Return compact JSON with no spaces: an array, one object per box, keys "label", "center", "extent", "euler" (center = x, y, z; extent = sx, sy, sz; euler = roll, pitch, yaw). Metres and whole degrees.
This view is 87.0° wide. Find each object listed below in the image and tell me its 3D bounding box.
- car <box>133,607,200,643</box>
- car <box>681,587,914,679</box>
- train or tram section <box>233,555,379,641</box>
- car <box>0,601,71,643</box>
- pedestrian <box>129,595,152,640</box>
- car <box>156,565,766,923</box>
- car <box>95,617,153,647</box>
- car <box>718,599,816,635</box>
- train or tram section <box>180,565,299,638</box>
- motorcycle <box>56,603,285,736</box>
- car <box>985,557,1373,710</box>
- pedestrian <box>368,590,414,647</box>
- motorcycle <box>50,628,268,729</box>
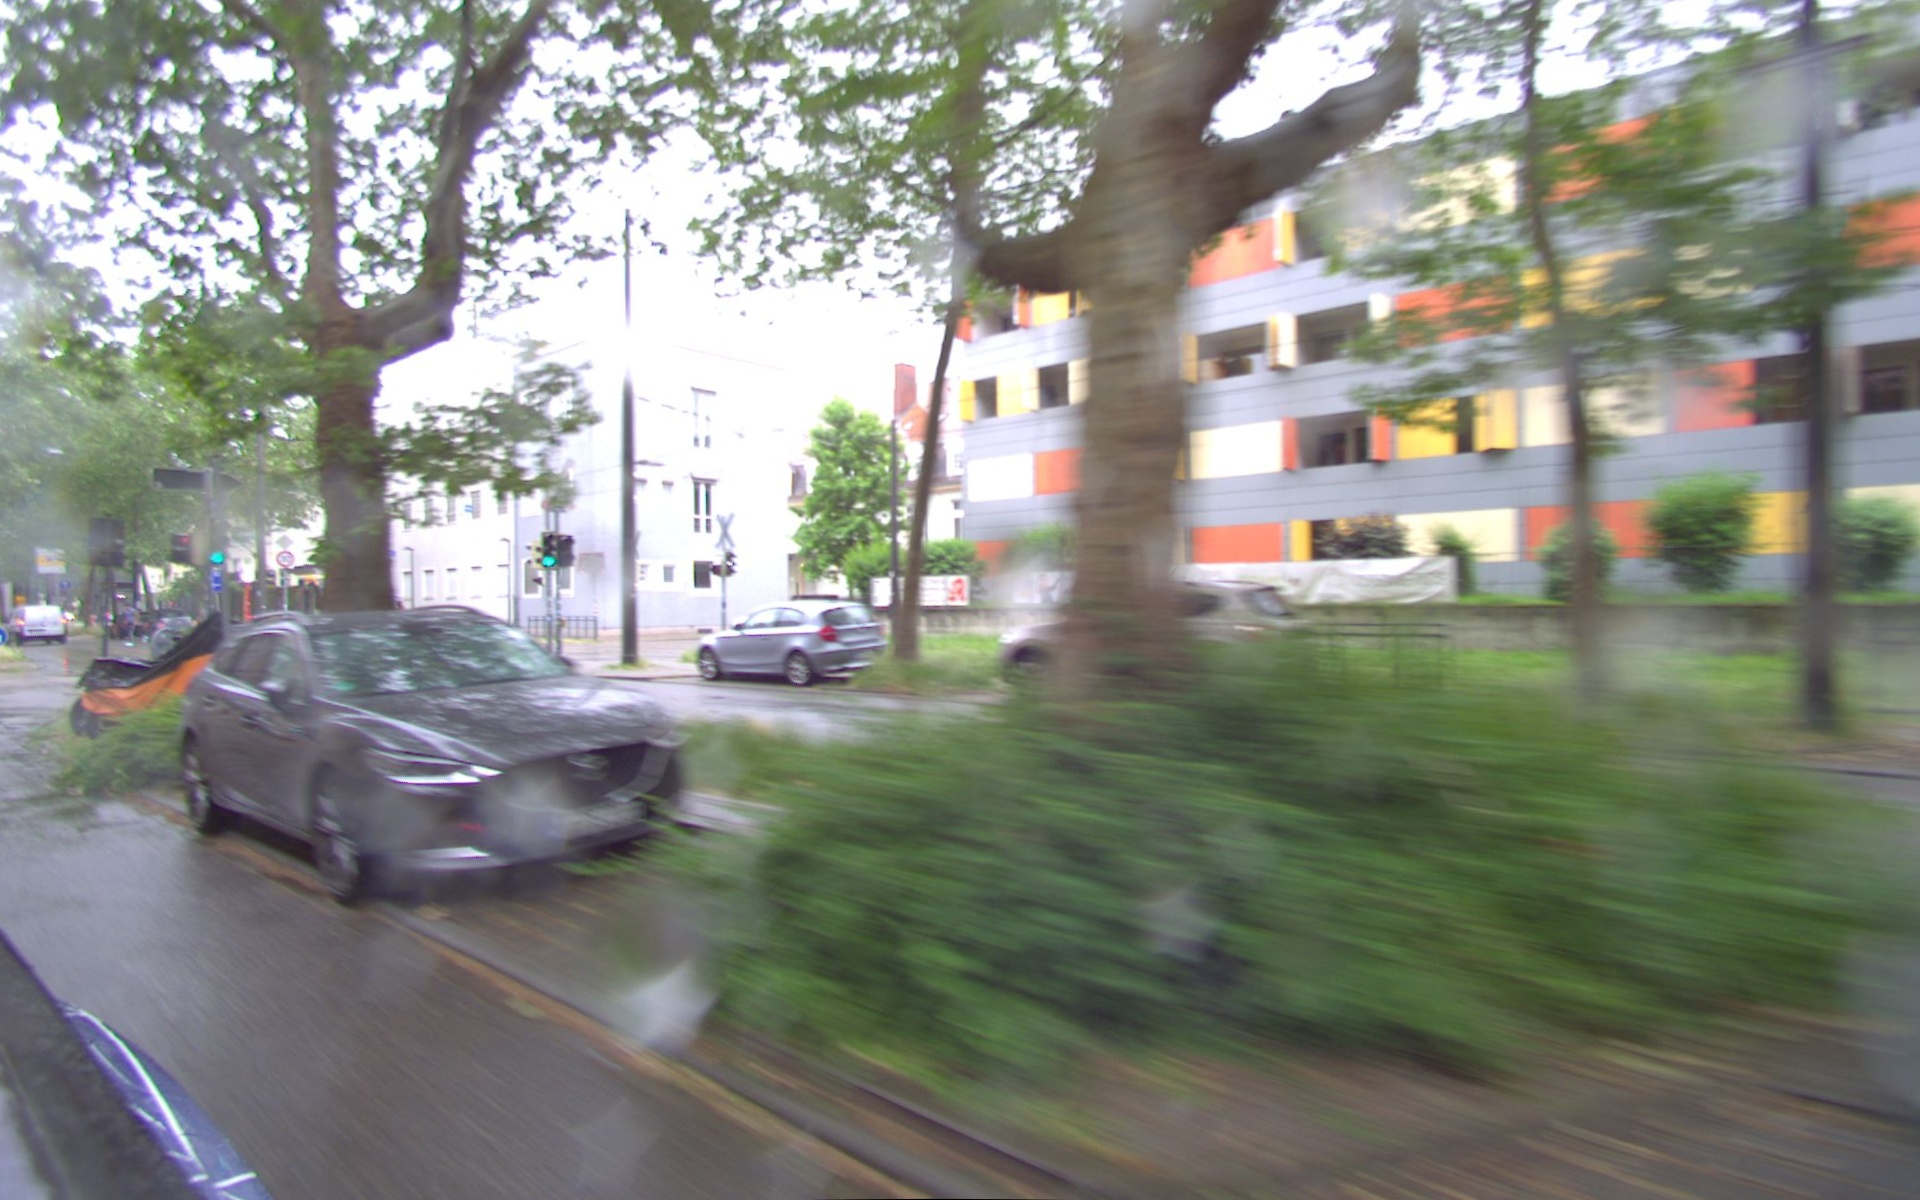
[{"label":"car","center":[-37.064,1.176,47.237],"extent":[3.971,1.520,1.655],"euler":[-2,1,41]},{"label":"car","center":[-3.047,0.600,18.416],"extent":[4.387,1.475,1.883],"euler":[-2,-2,42]},{"label":"train or tram section","center":[-31.361,0.006,48.241],"extent":[11.547,3.670,2.869],"euler":[-1,-1,42]},{"label":"car","center":[-42.967,1.014,46.903],"extent":[4.060,1.864,1.914],"euler":[-2,-2,38]},{"label":"pedestrian","center":[-34.613,0.754,42.758],"extent":[0.635,1.869,0.654],"euler":[-2,-2,42]},{"label":"car","center":[-3.439,0.651,6.473],"extent":[4.619,1.496,1.876],"euler":[-2,-1,41]},{"label":"car","center":[-43.489,1.654,52.630],"extent":[3.703,1.395,1.655],"euler":[-2,1,41]},{"label":"car","center":[-8.469,0.755,44.697],"extent":[1.885,1.539,4.038],"euler":[-2,-2,38]},{"label":"train or tram section","center":[-40.001,0.180,55.940],"extent":[11.547,3.670,2.869],"euler":[-1,-1,42]},{"label":"motorcycle","center":[-9.405,0.801,12.123],"extent":[2.077,1.511,0.772],"euler":[-1,-1,-6]},{"label":"car","center":[2.639,0.420,12.884],"extent":[4.465,1.612,1.884],"euler":[-2,-2,41]},{"label":"pedestrian","center":[-18.321,0.600,32.600],"extent":[1.205,1.813,0.926],"euler":[-1,-2,41]},{"label":"motorcycle","center":[-10.359,0.997,13.161],"extent":[2.110,1.218,0.870],"euler":[-1,-1,-4]}]
